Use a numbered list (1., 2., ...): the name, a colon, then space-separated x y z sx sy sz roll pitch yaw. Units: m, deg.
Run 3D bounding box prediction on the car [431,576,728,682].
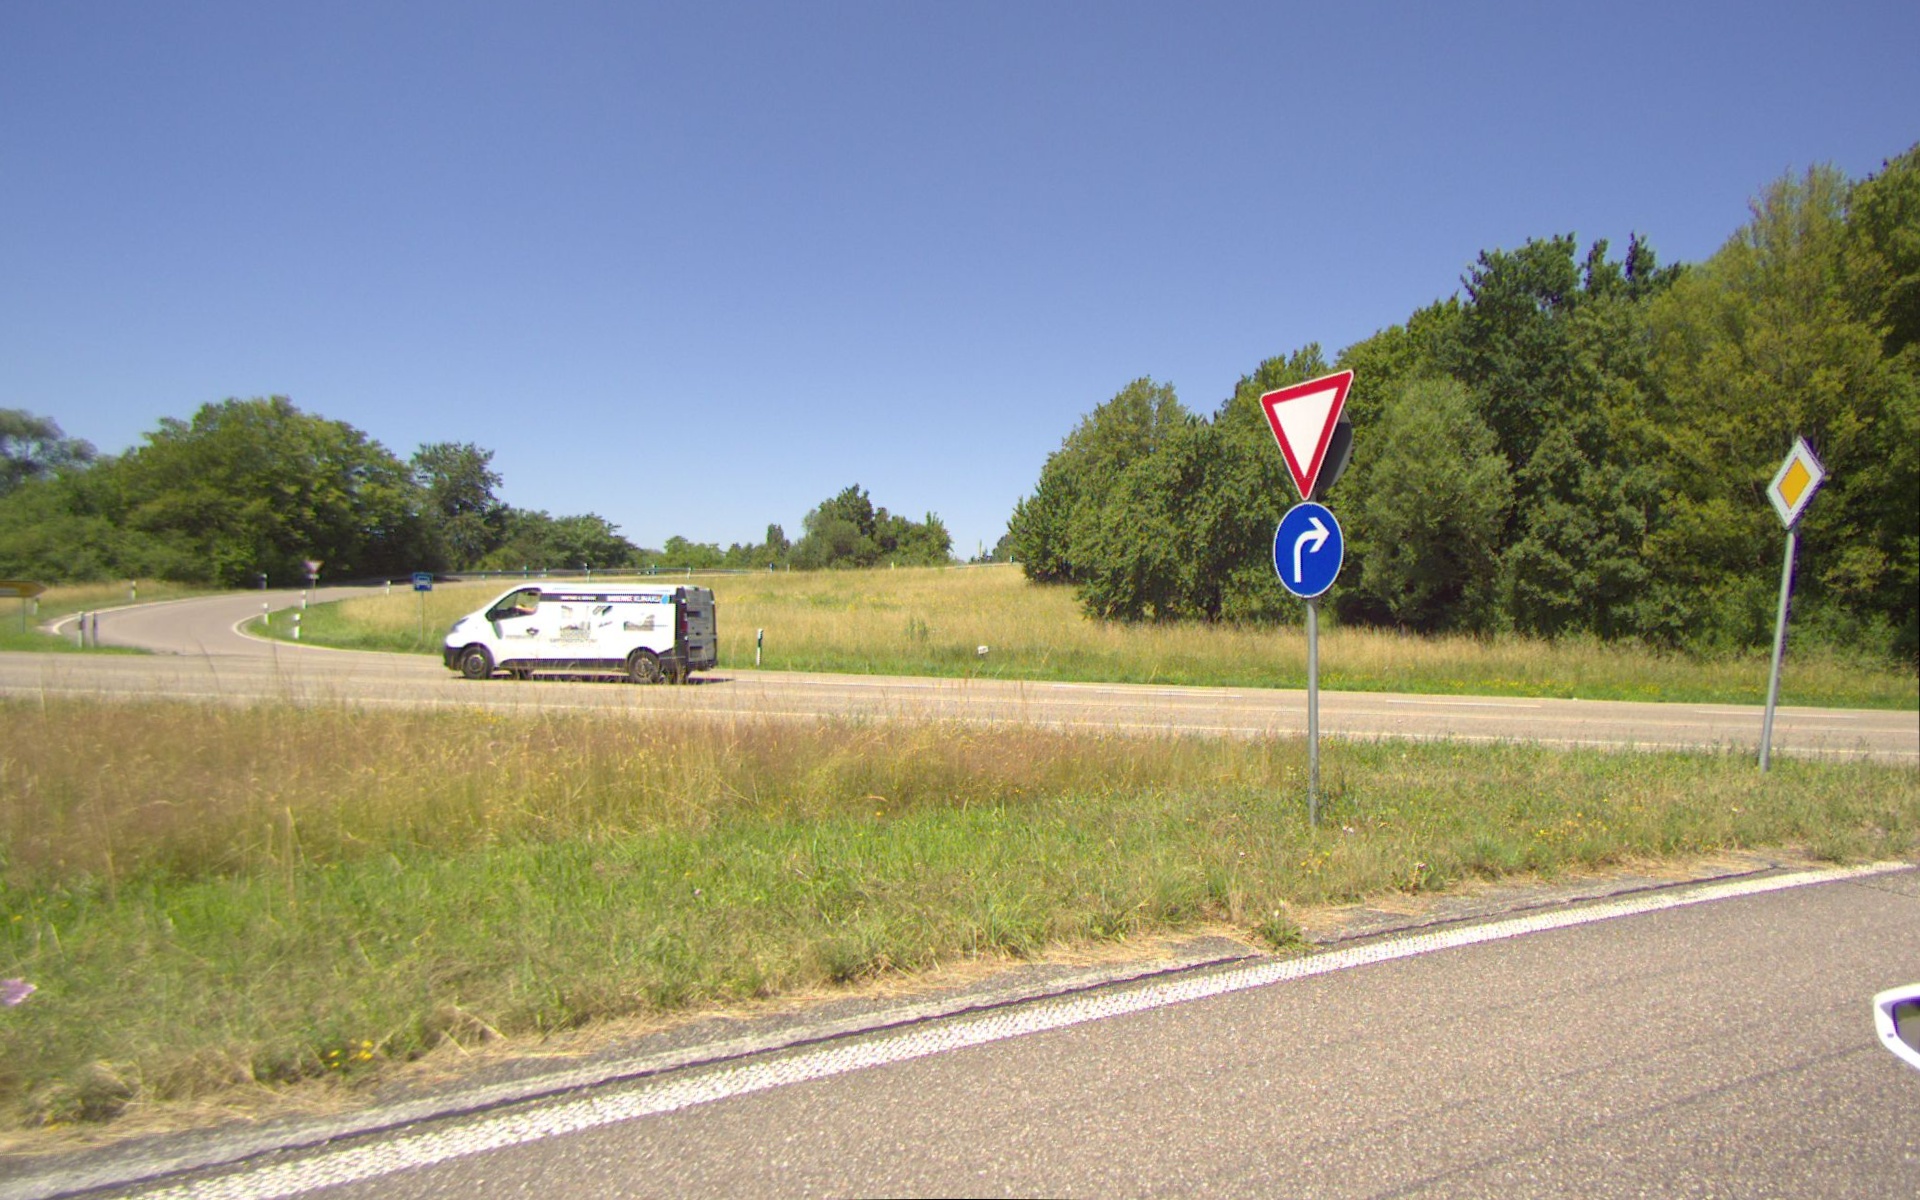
1. car: -7.582 0.589 20.315 5.285 1.987 1.916 -1 -1 3
